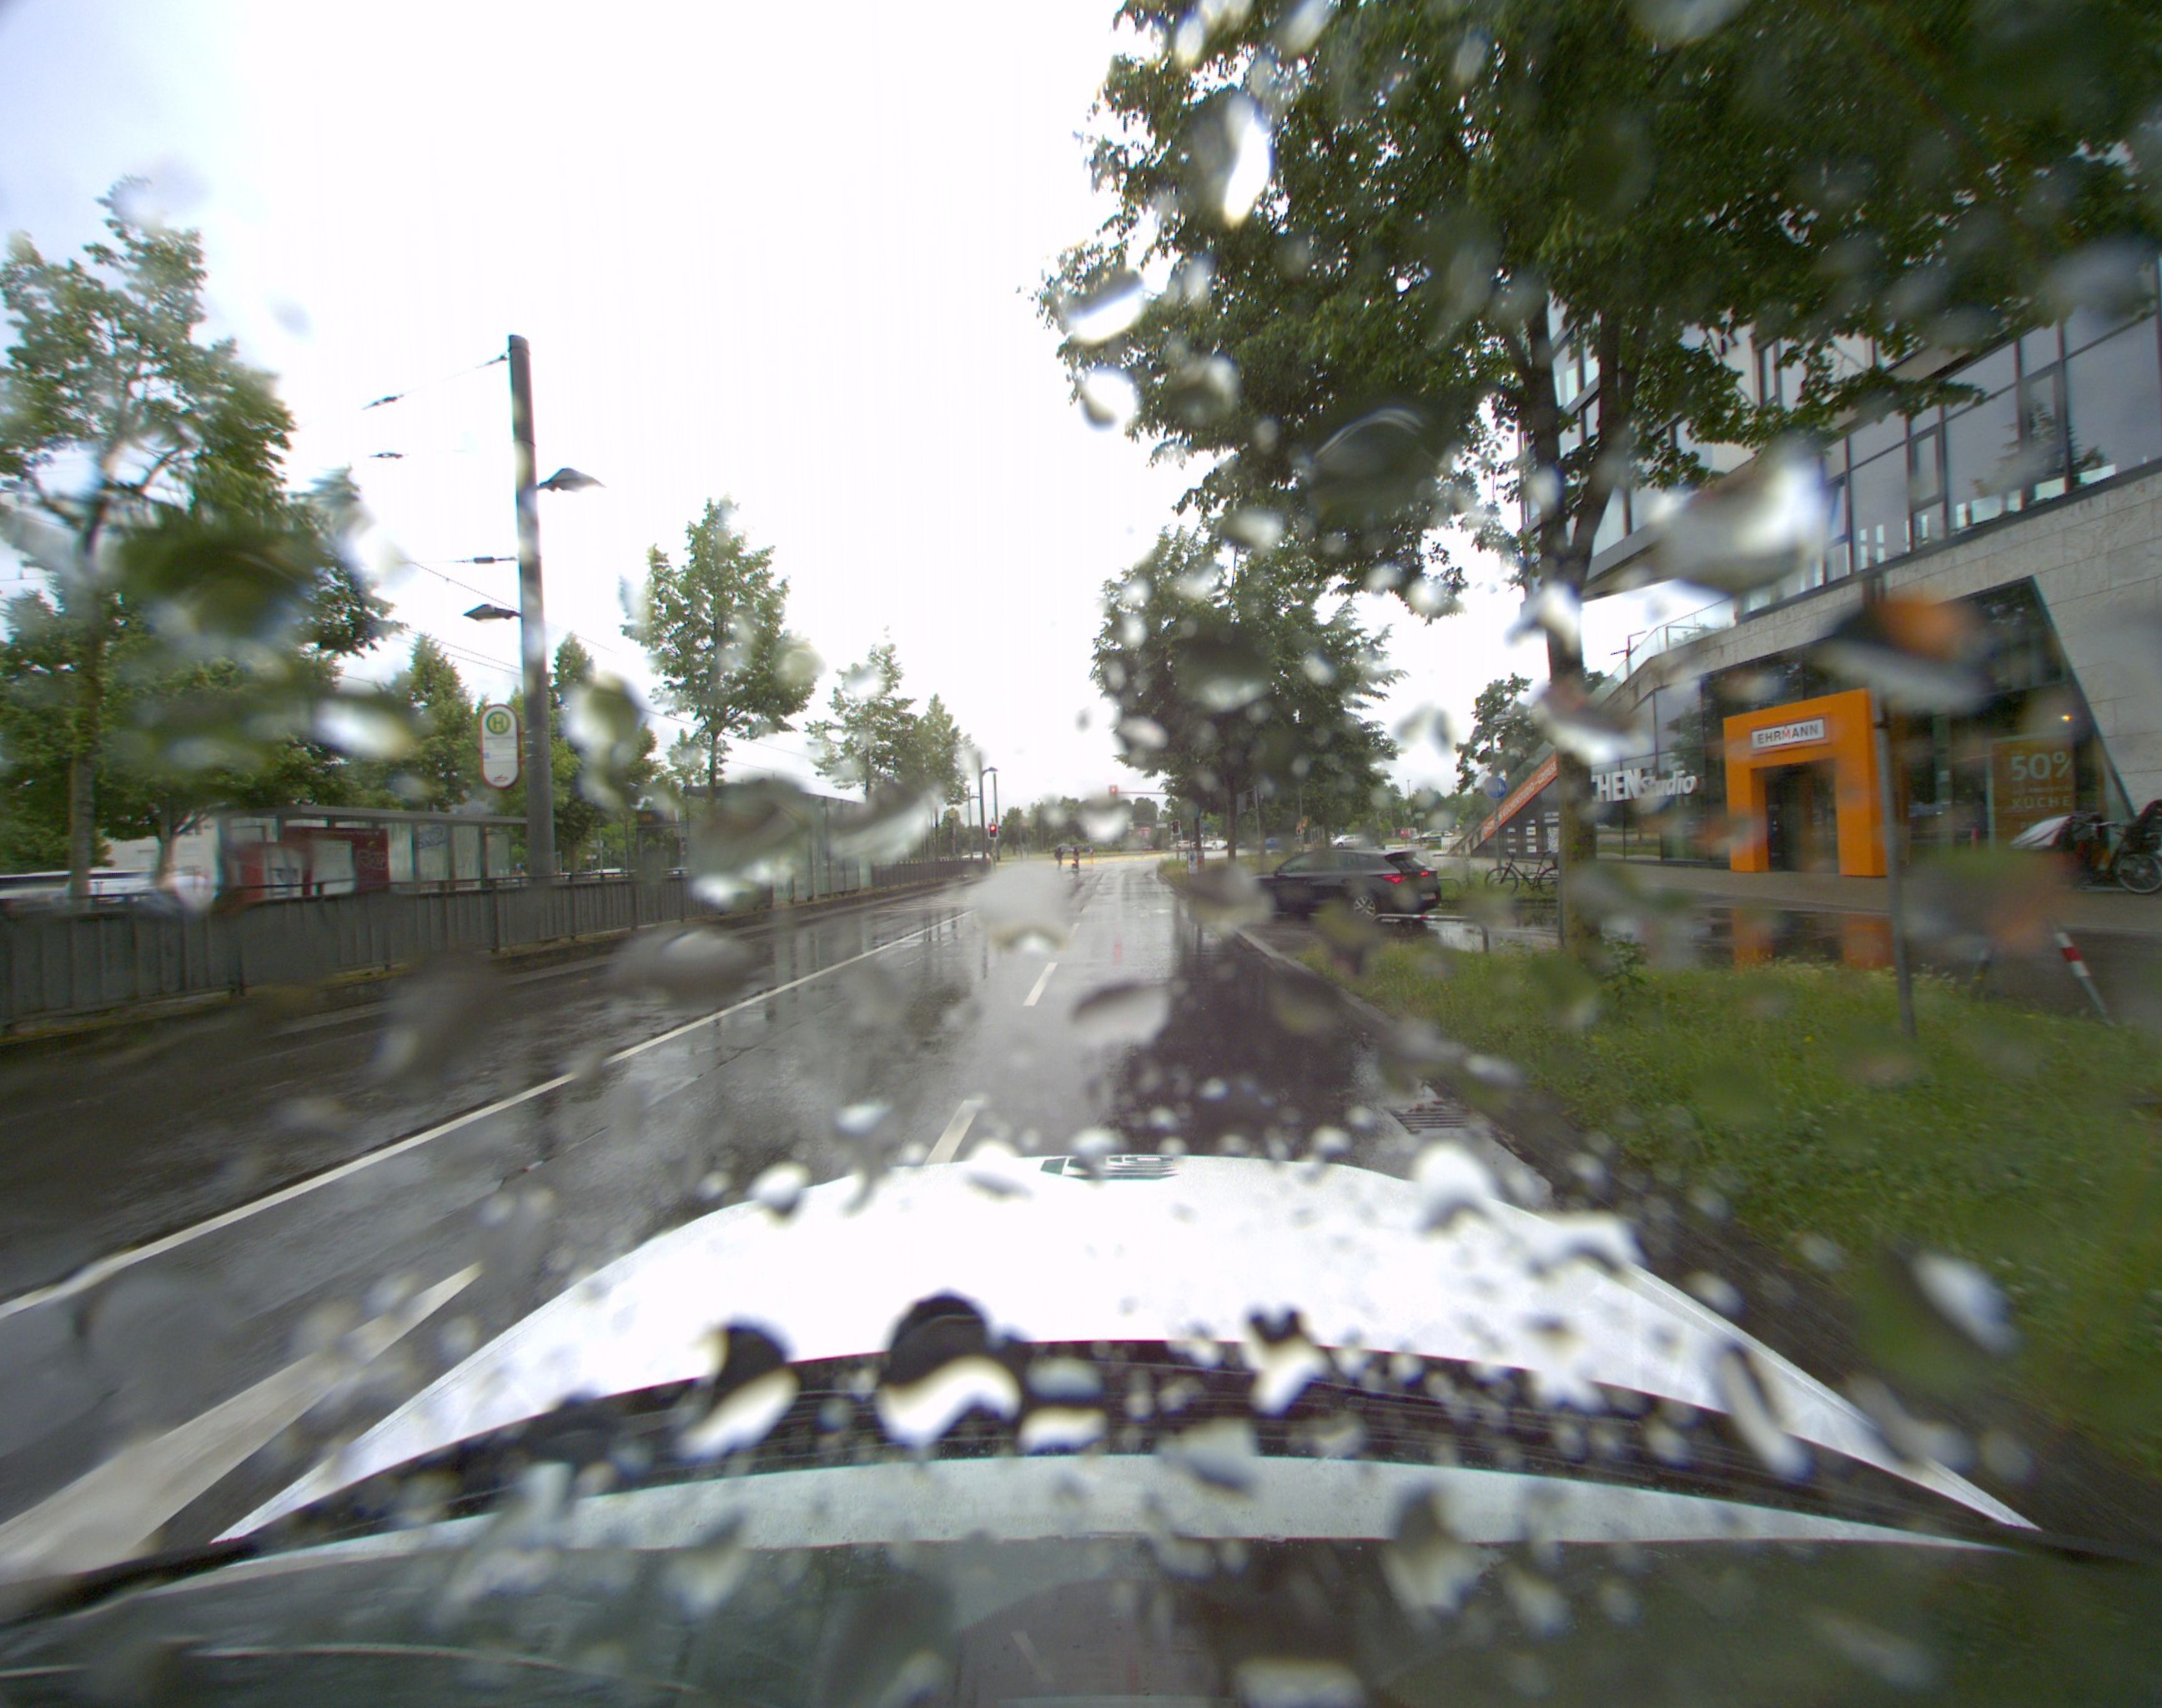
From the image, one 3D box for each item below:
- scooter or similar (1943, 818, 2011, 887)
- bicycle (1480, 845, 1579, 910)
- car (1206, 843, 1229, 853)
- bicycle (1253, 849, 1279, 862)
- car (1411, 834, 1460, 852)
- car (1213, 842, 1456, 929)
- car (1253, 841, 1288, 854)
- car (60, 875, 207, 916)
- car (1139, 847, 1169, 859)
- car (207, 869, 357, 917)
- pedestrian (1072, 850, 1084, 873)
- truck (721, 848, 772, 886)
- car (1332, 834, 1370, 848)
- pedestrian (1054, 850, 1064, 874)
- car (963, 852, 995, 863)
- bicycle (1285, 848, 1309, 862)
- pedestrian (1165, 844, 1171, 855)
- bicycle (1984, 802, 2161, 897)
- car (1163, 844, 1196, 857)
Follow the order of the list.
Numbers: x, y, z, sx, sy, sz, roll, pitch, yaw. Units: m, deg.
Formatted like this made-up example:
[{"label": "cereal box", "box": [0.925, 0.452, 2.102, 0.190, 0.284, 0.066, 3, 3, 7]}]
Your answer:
[{"label": "scooter or similar", "box": [16.508, -0.042, 15.032, 0.338, 1.228, 1.247, 0, 1, 22]}, {"label": "bicycle", "box": [9.745, 0.501, 17.746, 1.825, 1.346, 0.536, -1, 1, 28]}, {"label": "car", "box": [23.788, -1.014, 141.959, 1.780, 1.662, 4.158, -1, -1, 45]}, {"label": "bicycle", "box": [11.205, 0.076, 49.353, 0.381, 0.787, 1.841, 0, -1, -30]}, {"label": "car", "box": [41.504, -1.312, 95.414, 4.748, 1.851, 1.998, -2, 0, -3]}, {"label": "car", "box": [4.890, 0.541, 16.208, 1.842, 1.420, 4.296, -4, 2, -39]}, {"label": "car", "box": [22.690, -0.799, 97.645, 3.944, 1.454, 1.631, -2, 0, 16]}, {"label": "car", "box": [-62.196, 2.656, 53.672, 1.606, 2.278, 6.126, -2, 0, 16]}, {"label": "car", "box": [10.204, -0.142, 113.283, 3.937, 1.454, 1.633, -2, 0, 43]}, {"label": "car", "box": [-47.867, 2.264, 49.078, 1.607, 2.470, 6.512, -2, 0, 14]}, {"label": "pedestrian", "box": [-0.204, 0.489, 52.649, 0.678, 1.461, 0.573, -3, -1, -1]}, {"label": "truck", "box": [-34.845, 1.297, 85.204, 2.685, 3.778, 9.156, 0, 0, -8]}, {"label": "car", "box": [31.748, -1.519, 95.945, 3.957, 1.454, 1.625, -2, 0, 3]}, {"label": "pedestrian", "box": [-1.385, 0.491, 51.528, 0.618, 1.522, 0.741, -1, 0, 2]}, {"label": "car", "box": [-15.595, 0.557, 124.462, 4.610, 1.454, 1.617, -2, 0, -12]}, {"label": "bicycle", "box": [12.293, 0.049, 46.387, 0.453, 0.787, 2.000, 0, 0, -13]}, {"label": "pedestrian", "box": [10.658, -0.528, 99.388, 0.448, 1.304, 0.489, -2, 0, 42]}, {"label": "bicycle", "box": [16.260, -0.087, 13.174, 0.729, 1.402, 2.428, 0, 1, 4]}, {"label": "car", "box": [12.946, -0.455, 107.301, 1.633, 1.454, 4.062, -3, 0, -45]}]
